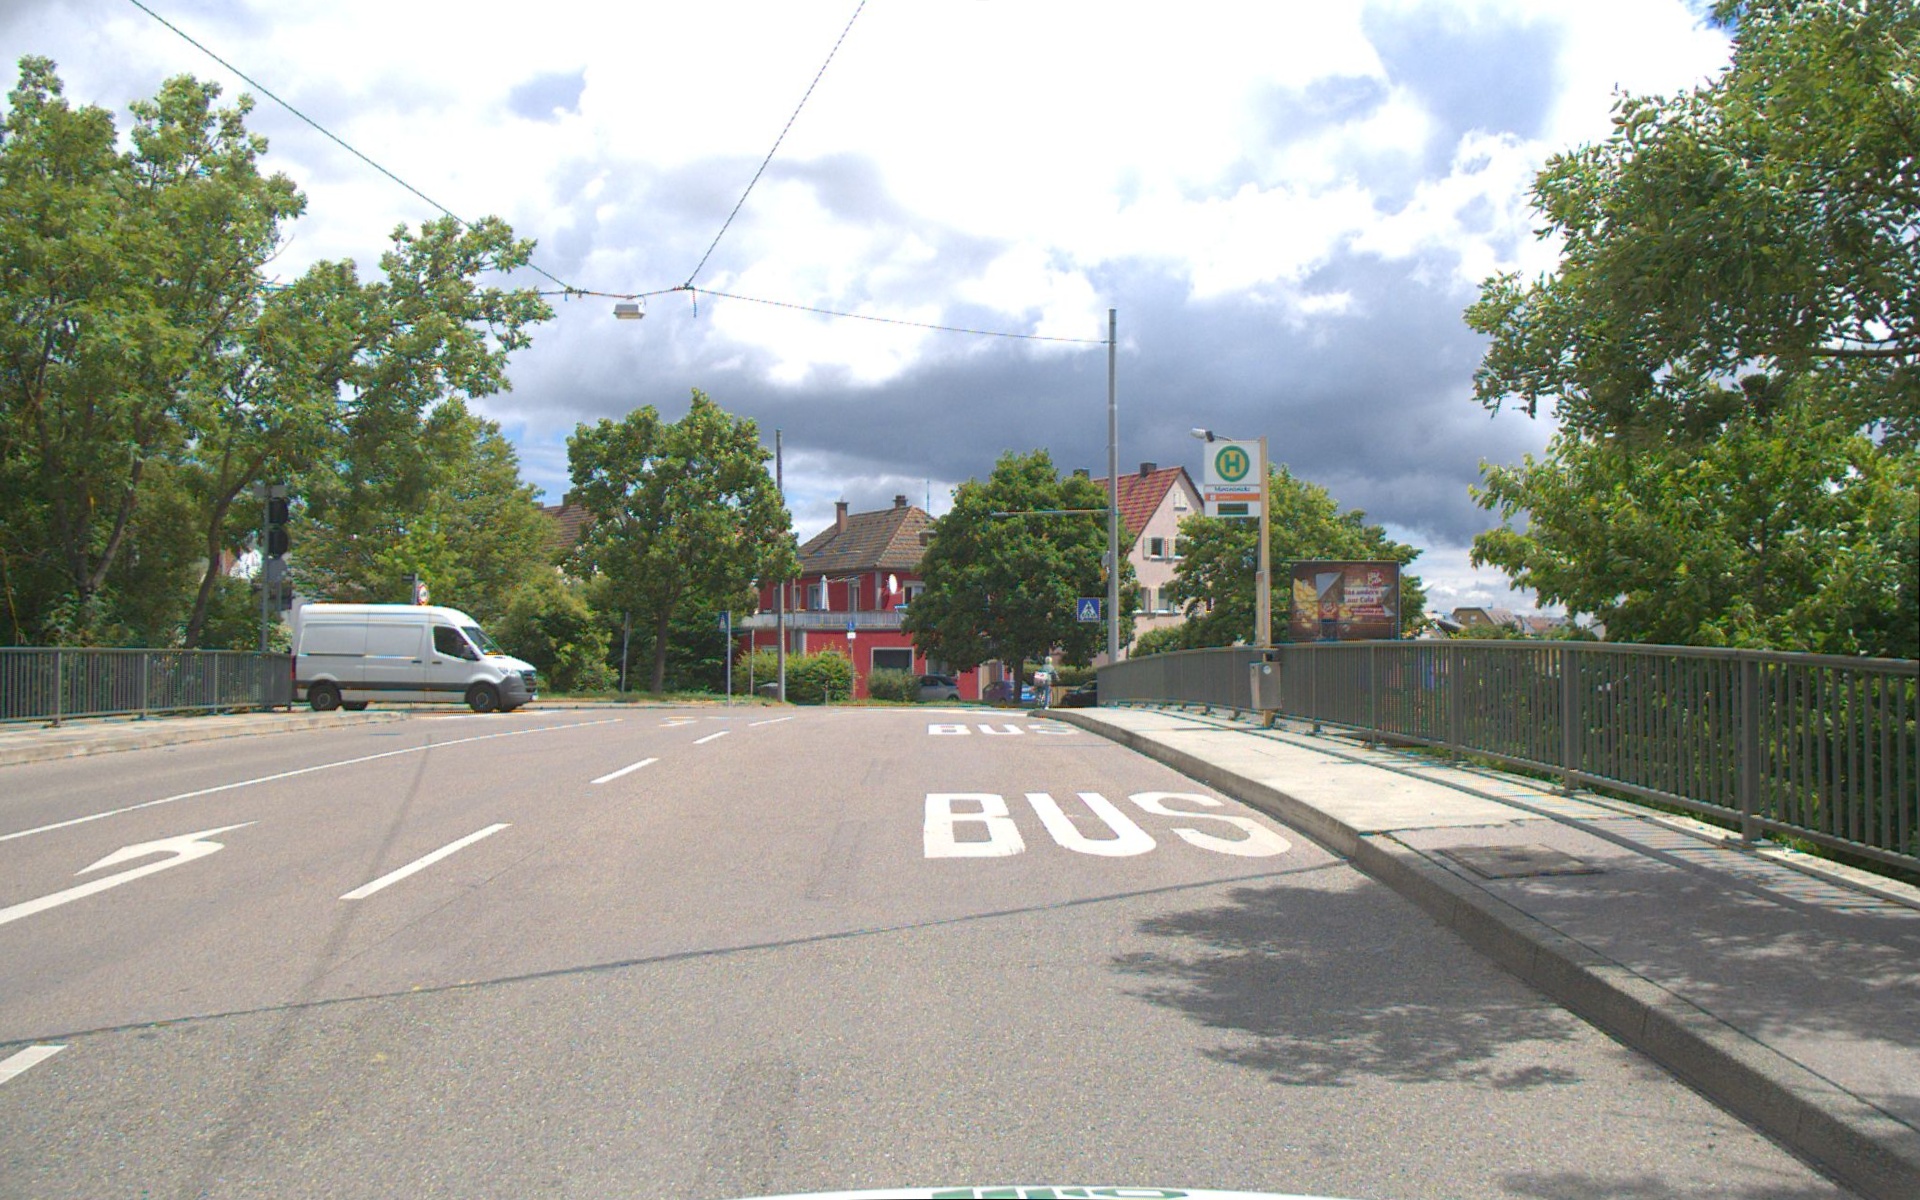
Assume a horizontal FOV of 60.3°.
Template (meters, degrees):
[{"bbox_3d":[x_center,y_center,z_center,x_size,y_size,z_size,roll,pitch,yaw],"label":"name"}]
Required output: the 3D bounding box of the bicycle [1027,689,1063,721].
[{"bbox_3d":[2.562,3.177,49.917,0.673,0.894,2.103,-1,-6,14],"label":"bicycle"}]

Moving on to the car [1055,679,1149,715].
[{"bbox_3d":[6.132,4.202,71.931,1.975,1.418,4.097,4,-3,-32],"label":"car"}]

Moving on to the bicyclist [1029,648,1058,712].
[{"bbox_3d":[2.526,2.410,49.824,0.670,1.858,1.081,0,-6,13],"label":"bicyclist"}]

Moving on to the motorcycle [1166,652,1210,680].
[{"bbox_3d":[11.748,3.398,85.326,2.210,1.339,0.909,4,-4,-35],"label":"motorcycle"}]

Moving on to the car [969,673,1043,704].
[{"bbox_3d":[2.185,4.268,79.653,1.820,1.402,3.771,3,-4,-32],"label":"car"}]

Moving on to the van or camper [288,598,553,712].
[{"bbox_3d":[-13.207,1.398,40.768,5.787,2.612,2.193,-1,-4,1],"label":"van or camper"}]

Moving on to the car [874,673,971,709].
[{"bbox_3d":[-1.642,4.011,73.151,4.028,1.451,1.626,4,-3,-34],"label":"car"}]
